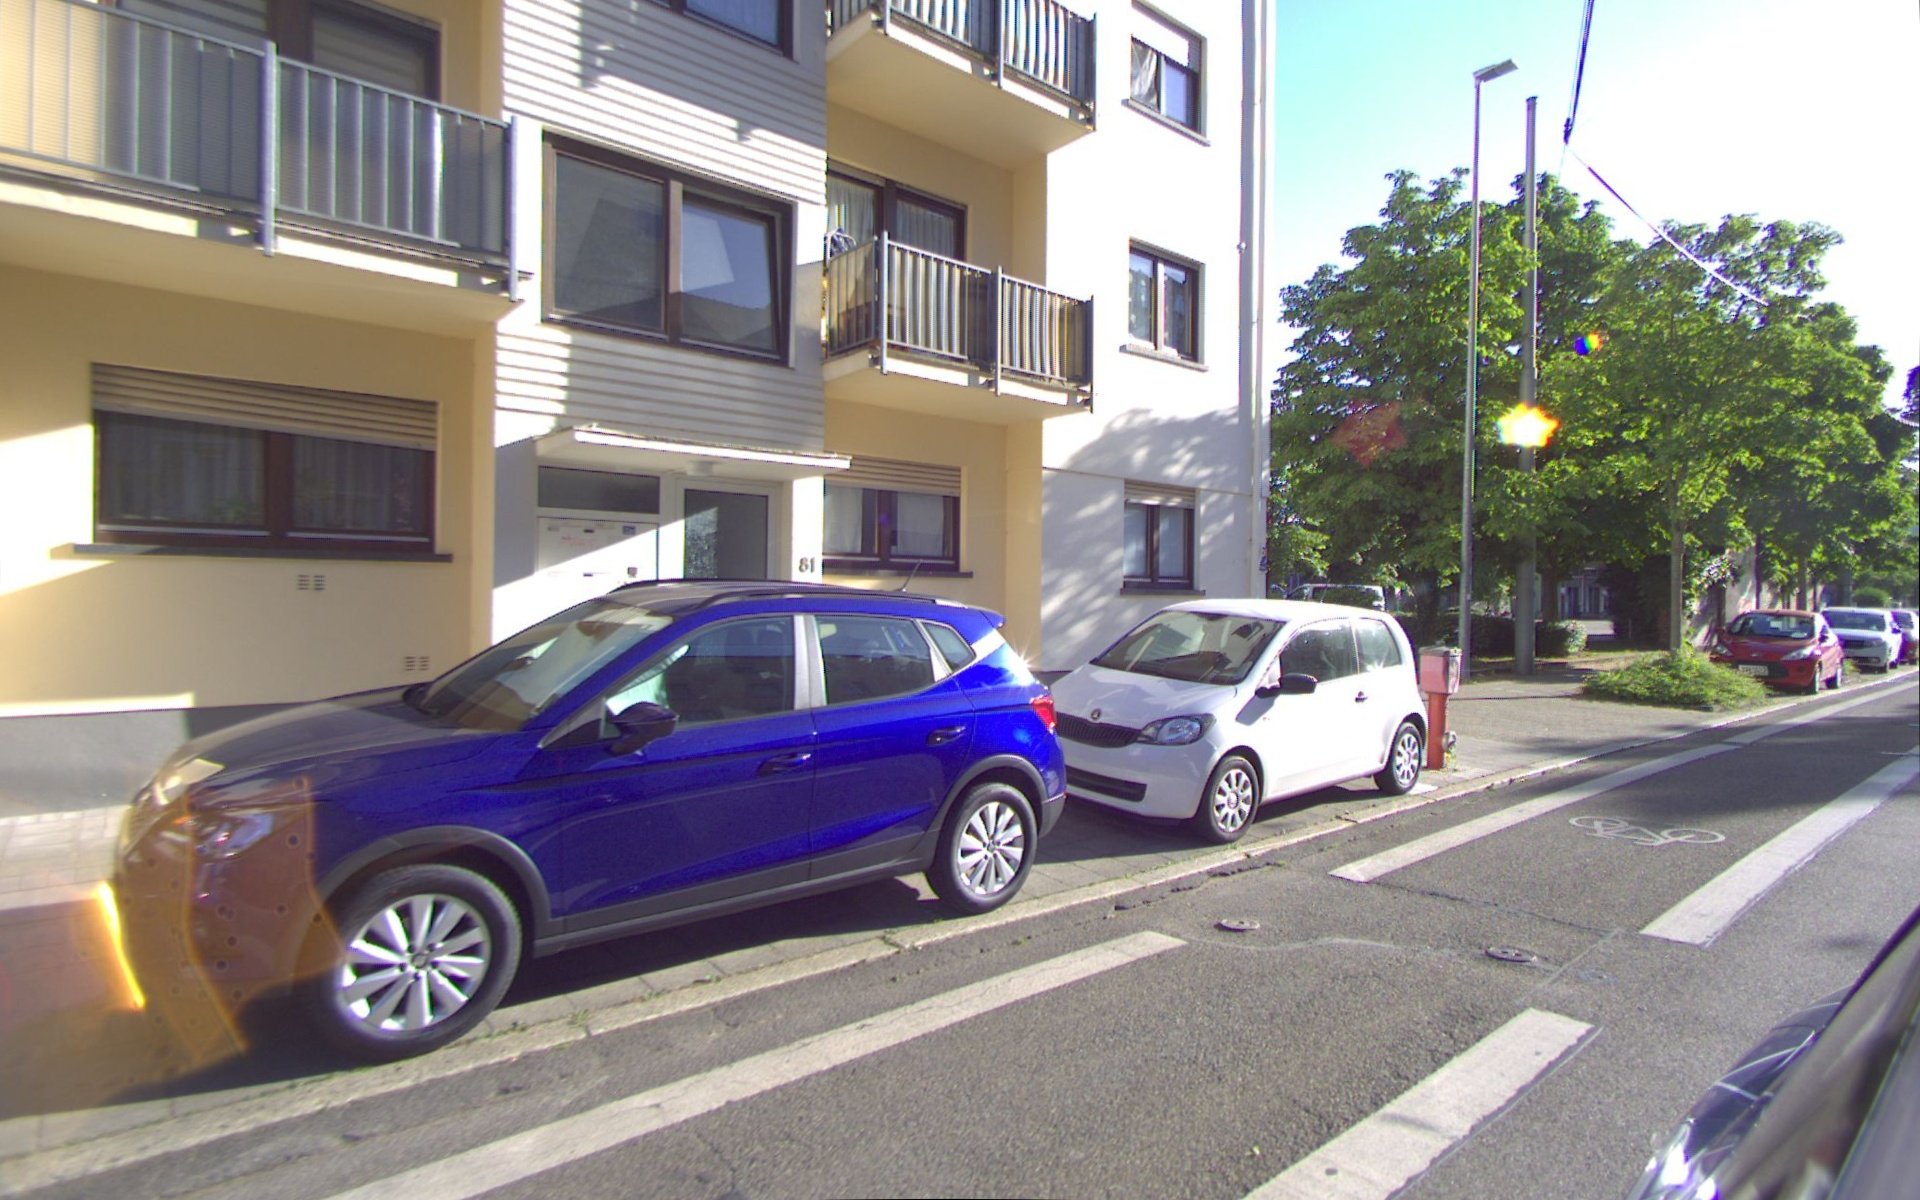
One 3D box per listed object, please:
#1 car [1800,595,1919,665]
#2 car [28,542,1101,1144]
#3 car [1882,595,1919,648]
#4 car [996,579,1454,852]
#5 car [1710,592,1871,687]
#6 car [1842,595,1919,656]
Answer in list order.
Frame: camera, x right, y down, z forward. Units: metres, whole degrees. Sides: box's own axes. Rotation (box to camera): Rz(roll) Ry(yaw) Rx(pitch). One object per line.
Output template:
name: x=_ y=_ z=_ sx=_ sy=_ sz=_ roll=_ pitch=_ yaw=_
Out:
car: x=23.214 y=0.704 z=25.994 sx=4.400 sy=1.590 sz=1.828 roll=0 pitch=2 yaw=-41
car: x=-1.374 y=0.610 z=4.623 sx=4.144 sy=1.590 sz=1.612 roll=0 pitch=2 yaw=-40
car: x=31.498 y=0.682 z=32.812 sx=4.400 sy=1.590 sz=1.828 roll=0 pitch=2 yaw=-41
car: x=2.132 y=0.667 z=7.678 sx=3.567 sy=1.561 sz=1.557 roll=0 pitch=2 yaw=-40
car: x=16.173 y=0.688 z=19.632 sx=4.398 sy=1.590 sz=1.612 roll=0 pitch=2 yaw=-40
car: x=27.238 y=0.696 z=29.407 sx=4.400 sy=1.590 sz=1.828 roll=0 pitch=2 yaw=-41
